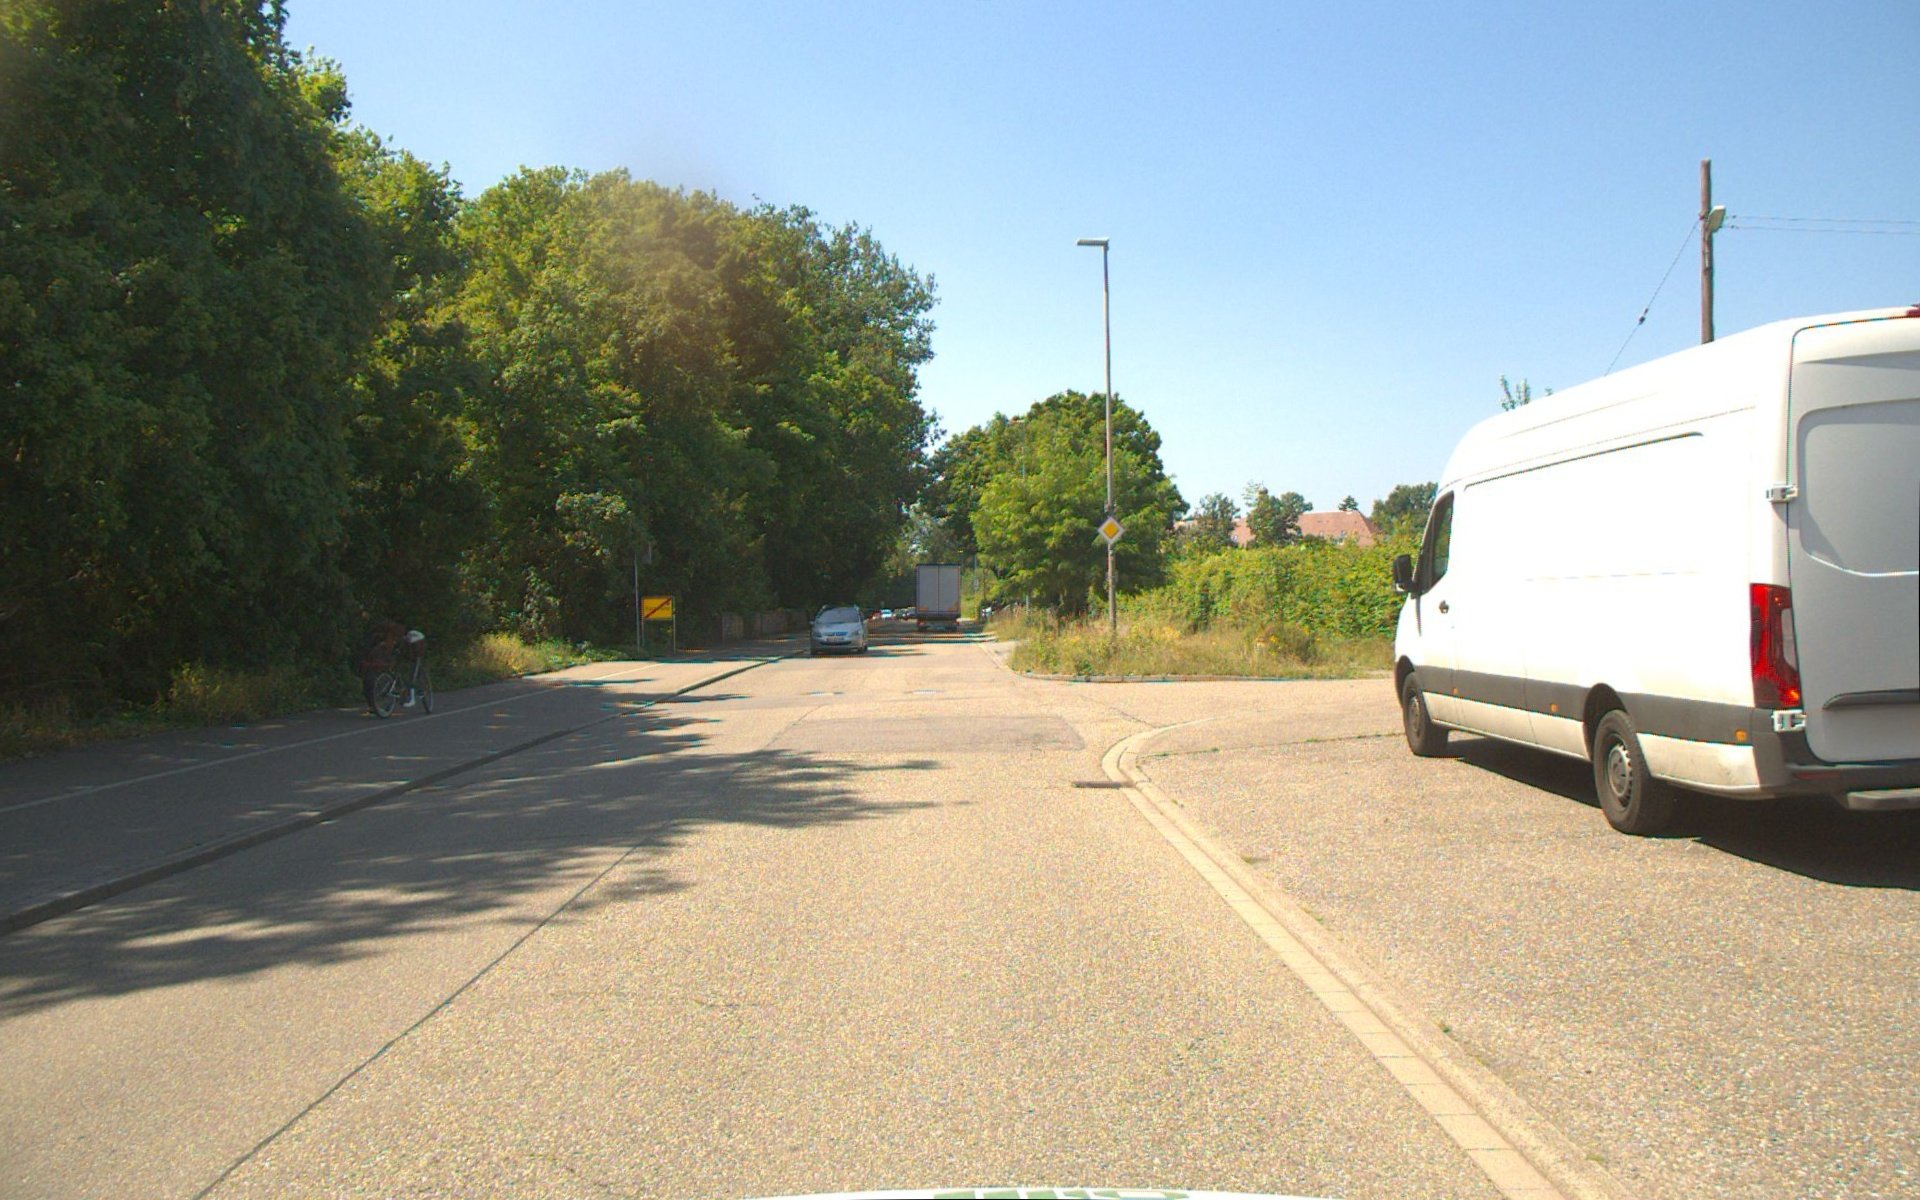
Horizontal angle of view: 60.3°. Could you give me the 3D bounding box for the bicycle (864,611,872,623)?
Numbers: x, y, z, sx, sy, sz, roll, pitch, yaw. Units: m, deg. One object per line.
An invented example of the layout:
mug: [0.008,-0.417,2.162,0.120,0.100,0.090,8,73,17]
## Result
bicycle: [-9.836,1.803,175.950,0.703,1.179,2.230,-2,0,0]

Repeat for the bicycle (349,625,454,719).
bicycle: [-7.892,0.987,23.459,0.510,1.258,1.962,0,-1,11]

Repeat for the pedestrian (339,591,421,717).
pedestrian: [-8.213,0.749,23.434,0.791,1.748,0.777,-1,0,15]

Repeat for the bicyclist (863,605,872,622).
bicyclist: [-9.847,1.397,175.946,0.815,1.746,0.957,-2,0,0]

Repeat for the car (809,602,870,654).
car: [-3.940,0.891,54.574,1.755,1.600,4.270,-1,0,-1]

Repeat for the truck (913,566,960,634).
truck: [-1.357,0.013,99.677,2.678,3.811,13.244,0,0,0]

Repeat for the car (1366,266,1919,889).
car: [4.641,-0.170,11.098,1.914,2.781,7.167,-4,0,0]

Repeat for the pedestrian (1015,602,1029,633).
pedestrian: [3.718,1.033,98.538,0.724,1.769,0.885,-2,0,-2]

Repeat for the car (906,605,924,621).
car: [-5.252,1.497,193.743,1.953,1.713,4.262,-2,0,0]

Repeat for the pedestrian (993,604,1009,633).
pedestrian: [2.400,1.075,97.331,0.846,1.706,0.885,-2,0,-2]

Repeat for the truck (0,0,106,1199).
truck: [-3.388,-0.153,0.554,2.275,3.499,7.160,-4,0,0]
